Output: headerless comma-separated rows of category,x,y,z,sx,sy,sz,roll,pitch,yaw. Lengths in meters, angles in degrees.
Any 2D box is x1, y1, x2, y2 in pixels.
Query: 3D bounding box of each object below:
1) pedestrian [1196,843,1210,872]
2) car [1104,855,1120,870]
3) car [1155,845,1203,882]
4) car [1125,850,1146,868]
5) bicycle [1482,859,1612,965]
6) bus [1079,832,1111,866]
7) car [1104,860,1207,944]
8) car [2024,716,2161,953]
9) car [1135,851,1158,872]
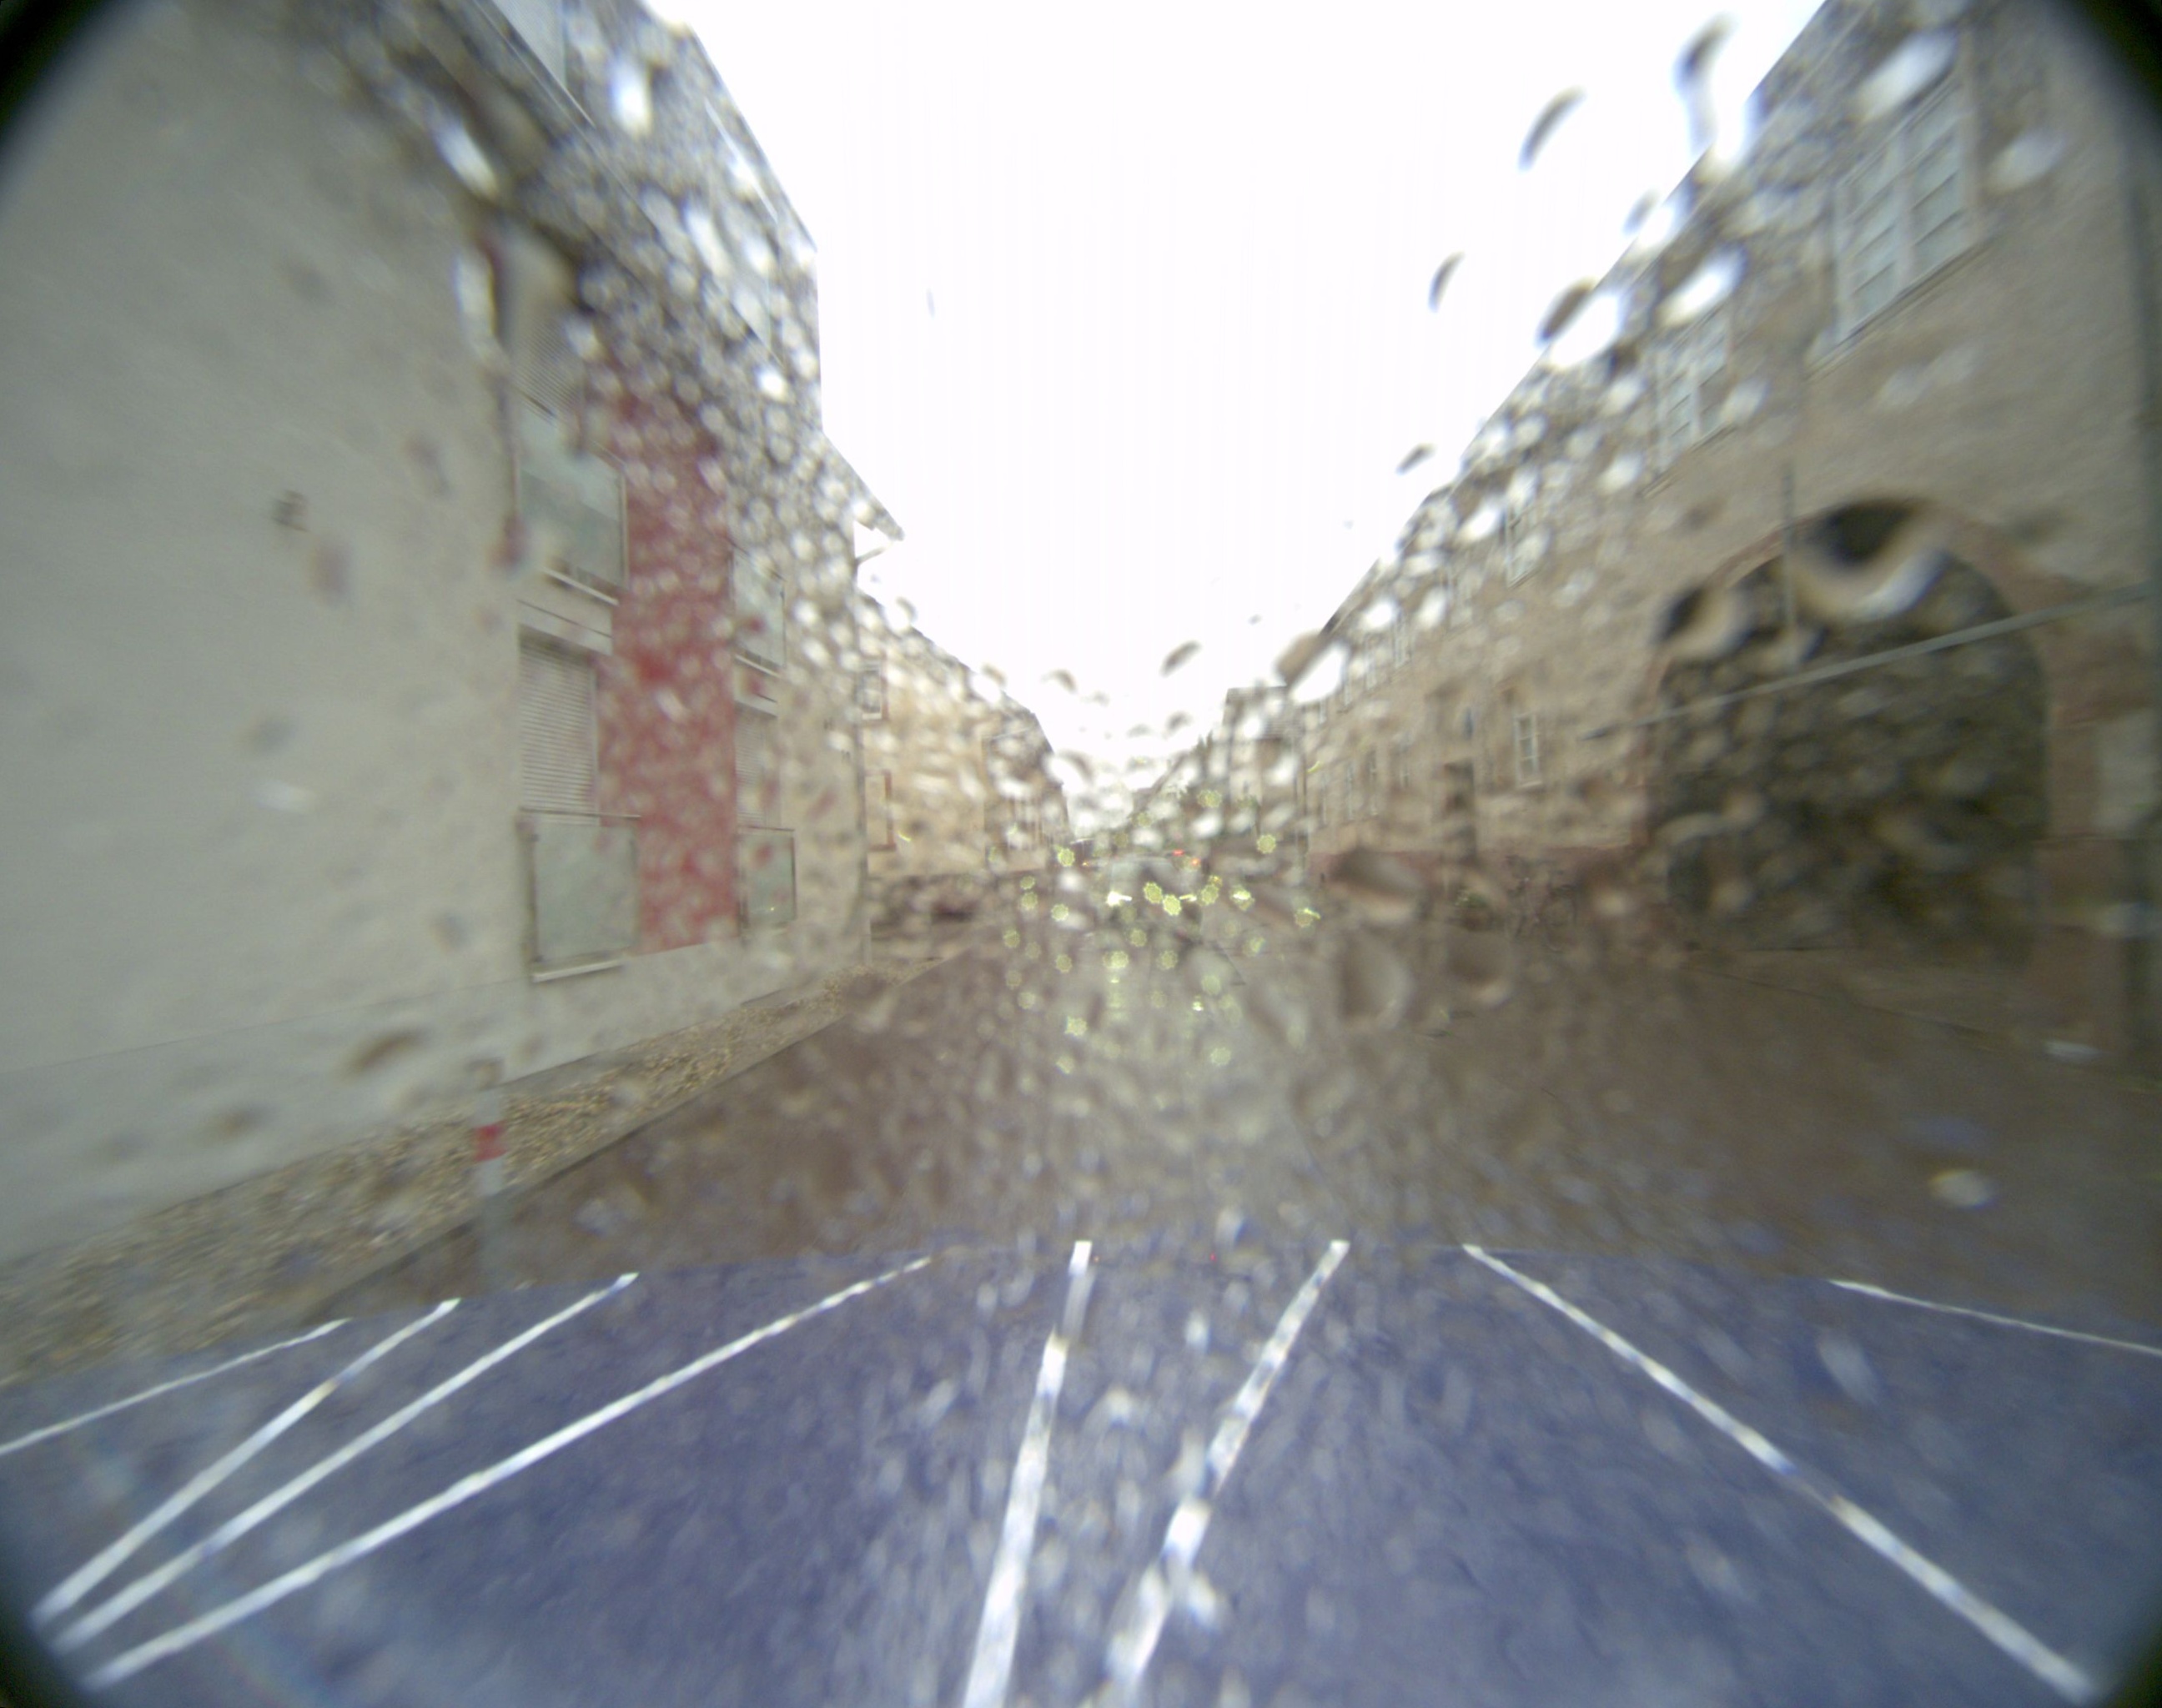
pedestrian,6.801,0.186,42.371,0.573,1.529,0.833,-4,1,-1
car,3.506,0.961,86.396,1.626,1.502,3.793,-5,0,3
car,4.842,0.427,38.067,1.837,1.547,4.239,-6,1,1
car,4.833,0.384,67.906,1.700,1.500,4.341,-1,1,1
bicycle,5.771,0.660,9.540,0.483,1.171,1.875,-4,0,2
bus,1.321,-0.534,77.120,2.668,3.213,12.188,-1,1,-1
car,1.334,0.839,15.053,1.739,1.363,4.102,-1,0,1
car,10.820,-0.375,5.920,4.235,1.921,1.886,-6,0,4
car,5.137,0.567,59.672,1.608,1.504,3.688,-2,0,3
